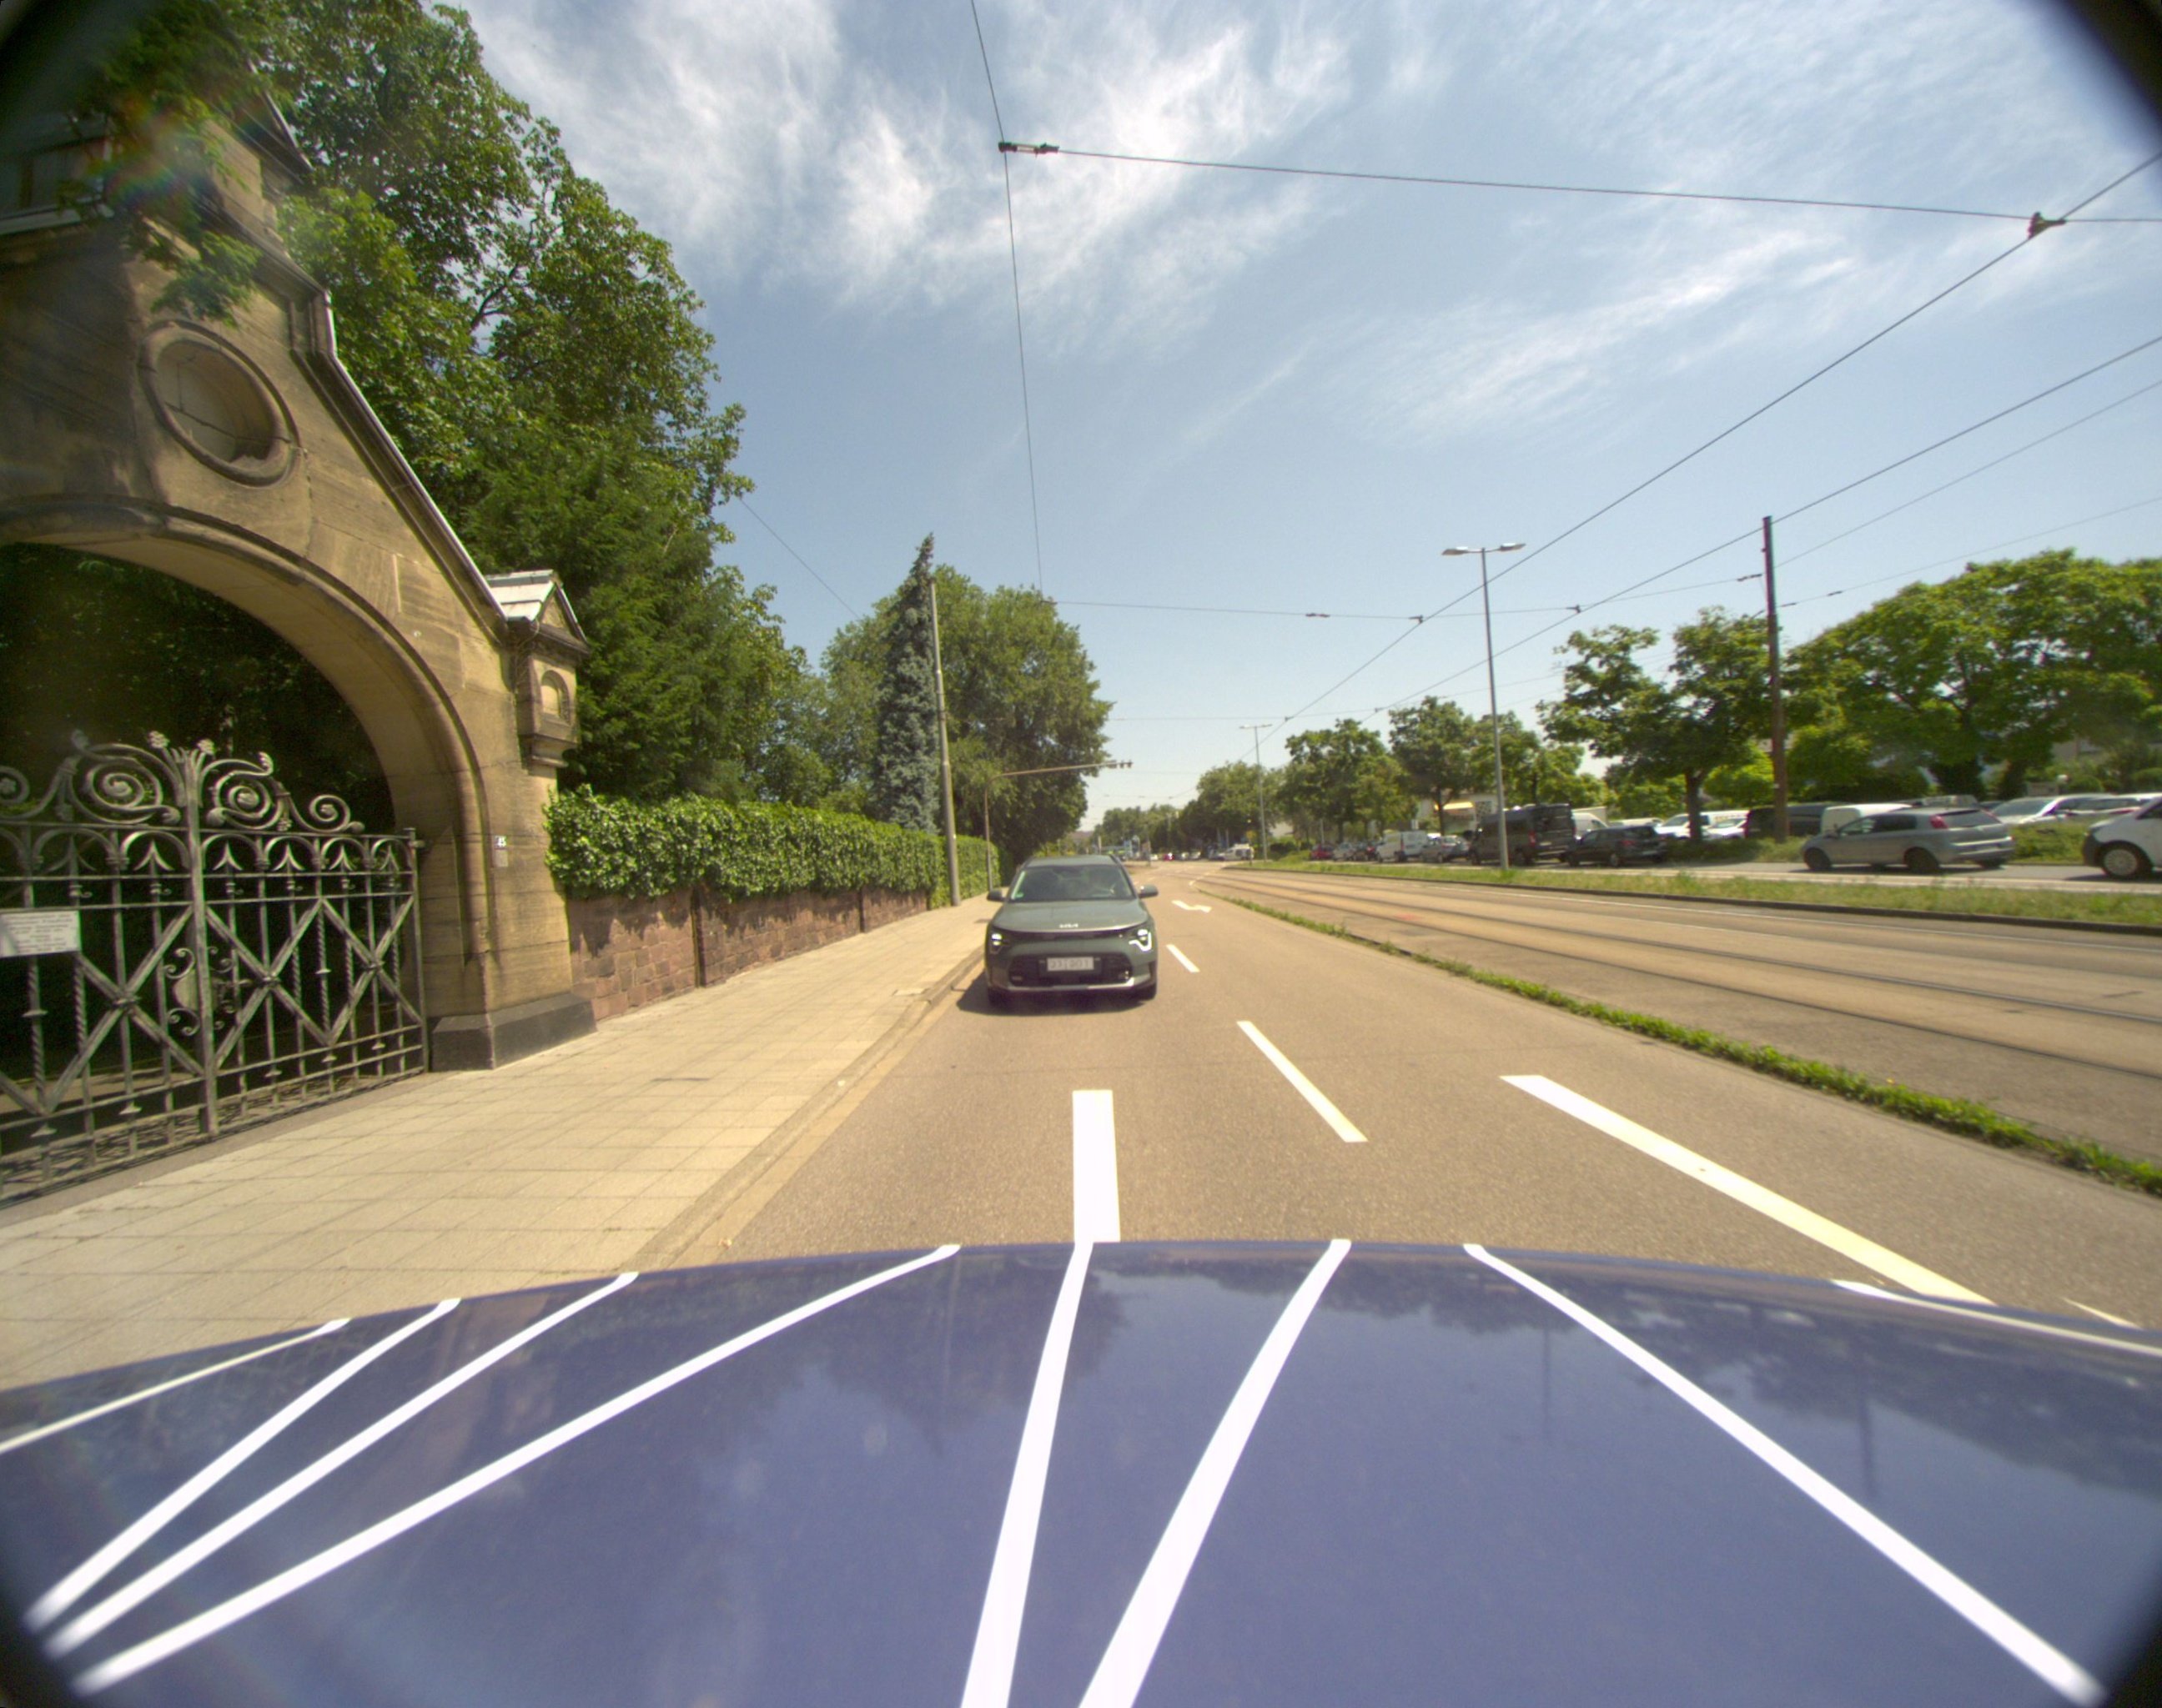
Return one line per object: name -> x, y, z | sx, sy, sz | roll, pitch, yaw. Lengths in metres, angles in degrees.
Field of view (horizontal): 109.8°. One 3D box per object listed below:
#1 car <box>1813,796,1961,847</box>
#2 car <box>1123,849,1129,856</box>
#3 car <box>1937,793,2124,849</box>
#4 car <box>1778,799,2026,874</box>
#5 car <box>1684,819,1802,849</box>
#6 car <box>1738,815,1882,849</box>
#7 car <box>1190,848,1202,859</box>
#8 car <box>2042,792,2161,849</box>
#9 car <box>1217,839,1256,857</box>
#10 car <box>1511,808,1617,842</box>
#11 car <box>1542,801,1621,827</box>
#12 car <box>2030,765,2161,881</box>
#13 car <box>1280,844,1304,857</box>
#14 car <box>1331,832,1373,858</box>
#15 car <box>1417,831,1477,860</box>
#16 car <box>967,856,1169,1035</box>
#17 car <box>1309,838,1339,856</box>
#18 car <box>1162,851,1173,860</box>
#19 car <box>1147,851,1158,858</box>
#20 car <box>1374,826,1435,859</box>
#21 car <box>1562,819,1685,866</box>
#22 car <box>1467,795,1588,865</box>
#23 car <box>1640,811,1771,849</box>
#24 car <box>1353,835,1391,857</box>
car -> 31.601, -1.246, 29.857 | 3.998, 1.708, 1.797 | -3, 0, -3
car -> 13.063, -0.405, 221.204 | 1.780, 1.907, 3.755 | -2, 1, 3
car -> 30.469, -1.035, 24.447 | 3.999, 1.479, 1.866 | -3, 0, -6
car -> 20.069, -0.401, 18.881 | 1.653, 1.494, 4.125 | -6, 0, 2
car -> 30.660, -0.913, 35.246 | 3.998, 1.137, 1.734 | -3, 0, -3
car -> 30.994, -0.931, 32.371 | 4.260, 1.137, 2.032 | -3, 0, -3
car -> 21.604, -0.149, 142.705 | 1.703, 1.842, 3.983 | -2, 1, 3
car -> 30.804, -1.023, 21.951 | 4.075, 1.481, 1.831 | -3, 0, -6
car -> 19.025, -0.762, 92.890 | 4.203, 1.979, 1.825 | -2, 1, 28
car -> 31.022, -1.827, 48.949 | 5.434, 1.945, 2.029 | -2, 1, 3
car -> 45.425, -3.626, 69.015 | 5.744, 2.051, 2.147 | -2, 1, -2
car -> 19.916, -0.604, 12.489 | 1.880, 1.999, 5.344 | -6, 0, 2
car -> 21.539, -0.365, 77.545 | 1.582, 1.152, 3.423 | -2, 1, 3
car -> 21.003, -0.723, 58.994 | 1.635, 1.882, 4.496 | -2, 1, 1
car -> 20.637, -0.485, 42.998 | 1.767, 1.456, 3.608 | -2, 1, 2
car -> -0.127, 0.873, 9.321 | 1.824, 1.577, 4.287 | -3, 0, 0
car -> 20.943, -0.609, 65.492 | 1.582, 1.471, 3.423 | -2, 1, 3
car -> 16.545, 0.315, 145.199 | 1.820, 1.471, 3.423 | -2, 1, 3
car -> 15.221, 0.150, 161.569 | 1.781, 1.310, 3.753 | -2, 1, -2
car -> 20.641, -0.715, 48.725 | 1.924, 1.937, 4.817 | -2, 1, 2
car -> 20.293, -0.443, 28.635 | 1.975, 1.568, 3.752 | -2, 1, 2
car -> 20.243, -1.054, 34.819 | 2.243, 2.822, 5.667 | -2, 1, 2
car -> 31.253, -1.170, 38.139 | 4.926, 1.568, 2.000 | -3, 1, -2
car -> 20.750, -0.590, 54.264 | 1.429, 1.470, 3.262 | -2, 1, 1
